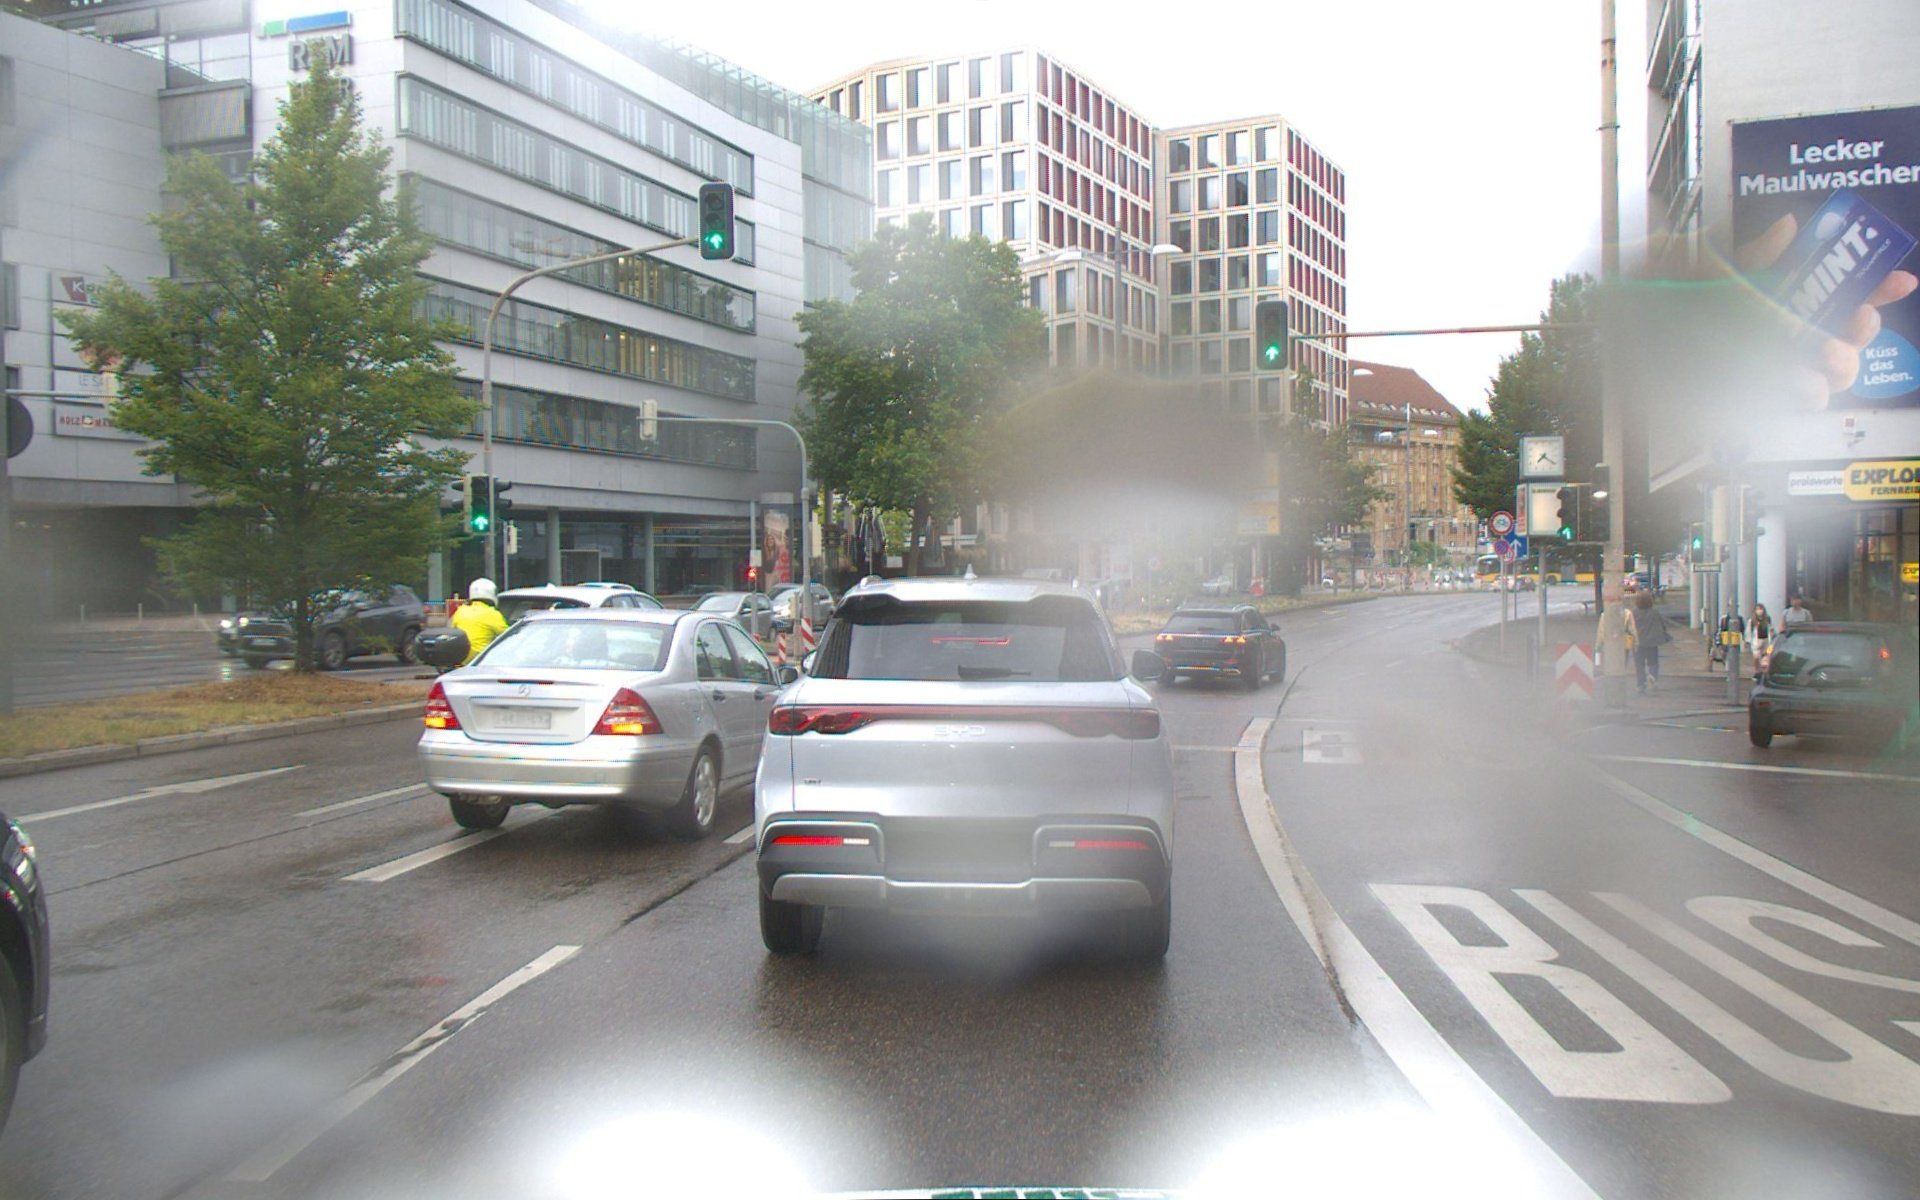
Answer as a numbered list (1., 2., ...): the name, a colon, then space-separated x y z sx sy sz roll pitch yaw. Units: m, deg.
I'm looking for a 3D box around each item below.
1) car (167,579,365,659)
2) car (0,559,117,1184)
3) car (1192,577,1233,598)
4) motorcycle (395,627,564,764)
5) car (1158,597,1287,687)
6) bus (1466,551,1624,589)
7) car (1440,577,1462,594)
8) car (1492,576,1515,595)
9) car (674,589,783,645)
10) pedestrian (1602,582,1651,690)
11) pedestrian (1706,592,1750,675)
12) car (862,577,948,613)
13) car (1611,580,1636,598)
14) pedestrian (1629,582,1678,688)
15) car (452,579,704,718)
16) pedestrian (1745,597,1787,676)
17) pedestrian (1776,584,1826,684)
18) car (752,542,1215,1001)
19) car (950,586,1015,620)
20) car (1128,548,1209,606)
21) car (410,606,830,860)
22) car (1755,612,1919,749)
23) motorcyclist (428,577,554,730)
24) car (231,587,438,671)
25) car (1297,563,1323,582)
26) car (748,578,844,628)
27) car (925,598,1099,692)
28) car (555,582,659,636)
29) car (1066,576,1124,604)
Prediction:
1. car: -15.609 0.390 37.440 1.952 1.638 4.002 2 1 19
2. car: -3.150 0.668 2.490 1.615 1.548 4.270 1 0 -1
3. car: 18.605 -0.947 121.716 1.954 1.514 3.997 0 1 26
4. motorcycle: -4.538 0.866 15.798 0.783 1.205 2.030 1 -1 7
5. car: 4.879 0.747 30.339 1.658 1.512 4.001 0 -1 19
6. bus: 66.457 -3.387 188.071 16.629 4.134 4.434 1 -1 26
7. car: 61.282 -1.843 206.425 1.954 2.049 3.997 0 0 25
8. car: 49.997 -1.337 152.108 1.849 1.672 4.000 0 0 21
9. car: -6.149 0.454 44.340 1.654 1.409 3.871 1 -1 12
10. pedestrian: 11.465 0.601 28.455 0.733 1.829 0.817 0 1 19
11. pedestrian: 15.686 0.676 33.762 0.659 1.684 0.649 0 0 42
12. car: -2.334 -0.243 72.038 1.776 1.536 5.195 0 1 22
13. car: 60.430 -0.988 150.590 1.661 1.512 3.994 0 -1 28
14. pedestrian: 12.266 0.604 29.268 0.733 1.829 0.817 0 1 19
15. car: -4.541 0.560 20.293 1.670 1.512 4.003 1 -1 8
16. pedestrian: 16.307 0.733 33.453 0.615 1.570 0.649 0 0 42
17. pedestrian: 15.644 0.623 30.753 0.659 1.825 0.769 0 0 42
18. car: 0.189 0.666 8.276 1.739 1.708 4.001 1 -1 3
19. car: 1.130 0.117 79.544 1.598 1.586 4.593 0 1 22
20. car: 8.066 -0.852 63.529 1.952 2.049 4.848 1 -1 21
21. car: -2.146 0.788 11.622 1.537 1.432 4.112 1 -1 9
22. car: 10.817 0.898 19.760 1.546 1.454 3.981 0 -1 39
23. motorcyclist: -4.508 0.503 15.951 0.753 1.404 1.119 1 -1 8
24. car: -12.379 0.534 33.030 1.609 1.563 4.154 0 0 18
25. car: 34.508 -2.663 163.055 1.576 1.771 3.438 0 -1 30
26. car: -5.451 0.090 55.561 1.609 1.609 4.086 0 0 20
27. car: 0.983 0.756 28.864 1.540 1.512 3.996 0 -1 26
28. car: -10.907 0.306 51.309 1.603 1.598 3.721 1 -1 16
29. car: 7.597 -0.550 92.785 1.954 1.514 3.997 0 1 26
